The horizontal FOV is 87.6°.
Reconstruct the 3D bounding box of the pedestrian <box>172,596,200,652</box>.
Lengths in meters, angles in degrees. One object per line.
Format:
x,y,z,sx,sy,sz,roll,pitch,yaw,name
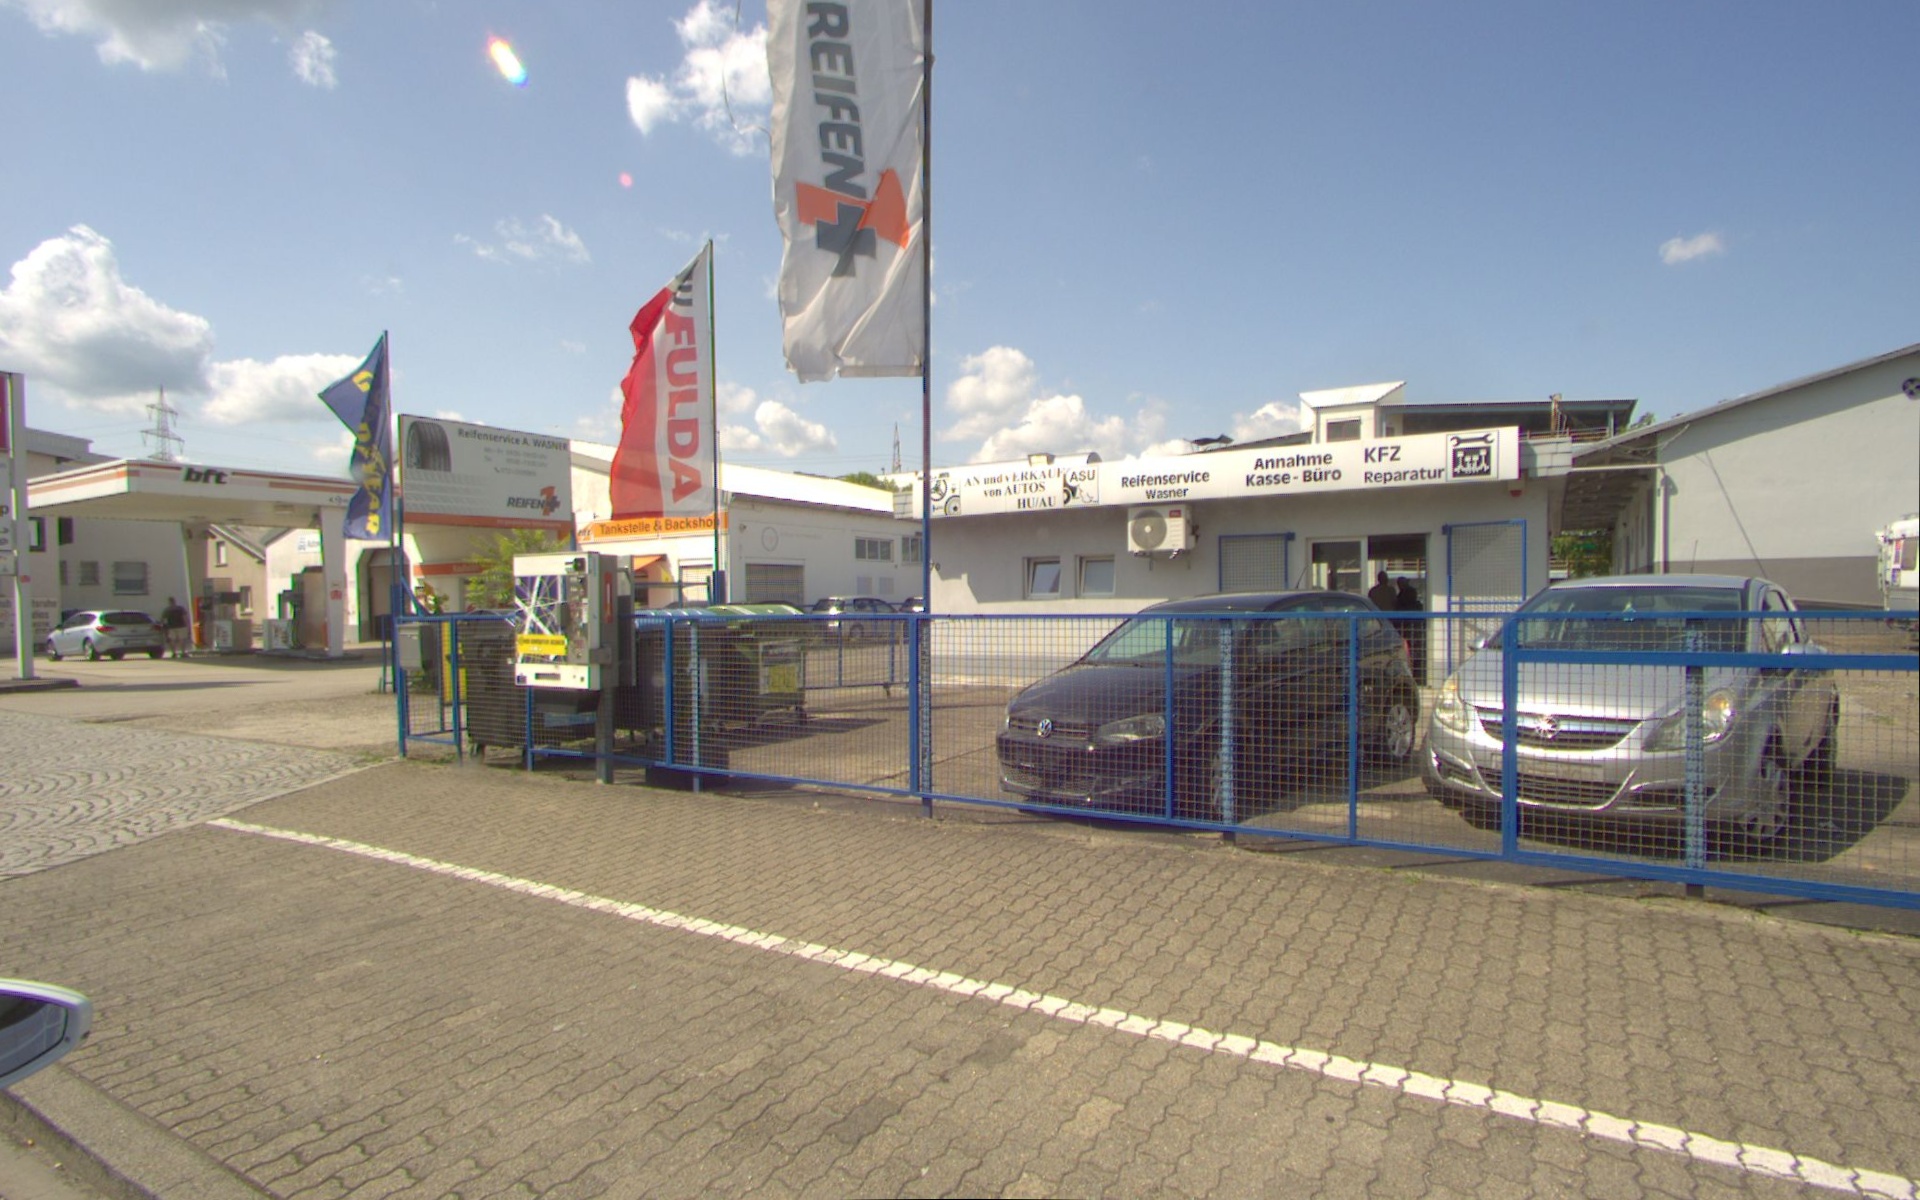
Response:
-23.742,0.727,30.714,0.628,1.705,0.618,-1,1,-36,pedestrian

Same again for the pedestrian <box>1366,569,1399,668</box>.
7.412,0.323,17.566,0.480,1.710,0.499,0,1,30,pedestrian

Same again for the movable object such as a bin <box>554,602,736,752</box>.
-3.374,0.772,10.784,1.434,1.473,1.224,0,1,31,movable object such as a bin

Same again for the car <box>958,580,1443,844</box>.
2.012,0.624,7.647,3.962,1.499,1.705,-1,1,-43,car

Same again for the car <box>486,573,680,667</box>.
-8.916,0.433,23.981,1.971,2.040,3.979,0,0,32,car

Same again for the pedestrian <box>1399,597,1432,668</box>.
7.976,0.561,17.524,0.480,1.229,0.499,0,1,30,pedestrian

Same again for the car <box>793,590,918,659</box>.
-3.267,0.727,31.986,1.971,2.040,3.979,0,0,32,car

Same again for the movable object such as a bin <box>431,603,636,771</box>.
-4.134,0.781,9.744,1.434,1.473,1.224,0,1,31,movable object such as a bin

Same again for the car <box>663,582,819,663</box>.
-5.950,0.570,27.635,1.971,2.040,3.979,0,0,32,car

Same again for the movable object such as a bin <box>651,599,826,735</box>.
-2.608,0.740,11.898,1.433,1.473,1.427,0,1,31,movable object such as a bin

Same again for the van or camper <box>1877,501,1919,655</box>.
21.344,-0.458,19.320,4.983,3.002,2.276,0,1,31,van or camper

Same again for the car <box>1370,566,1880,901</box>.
4.499,0.585,6.510,4.104,1.499,1.787,-1,0,-42,car

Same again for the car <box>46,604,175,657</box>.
-25.837,0.887,30.433,3.950,1.499,1.829,-1,1,31,car

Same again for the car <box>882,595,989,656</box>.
-0.807,0.863,35.876,1.971,2.040,3.979,0,0,32,car
